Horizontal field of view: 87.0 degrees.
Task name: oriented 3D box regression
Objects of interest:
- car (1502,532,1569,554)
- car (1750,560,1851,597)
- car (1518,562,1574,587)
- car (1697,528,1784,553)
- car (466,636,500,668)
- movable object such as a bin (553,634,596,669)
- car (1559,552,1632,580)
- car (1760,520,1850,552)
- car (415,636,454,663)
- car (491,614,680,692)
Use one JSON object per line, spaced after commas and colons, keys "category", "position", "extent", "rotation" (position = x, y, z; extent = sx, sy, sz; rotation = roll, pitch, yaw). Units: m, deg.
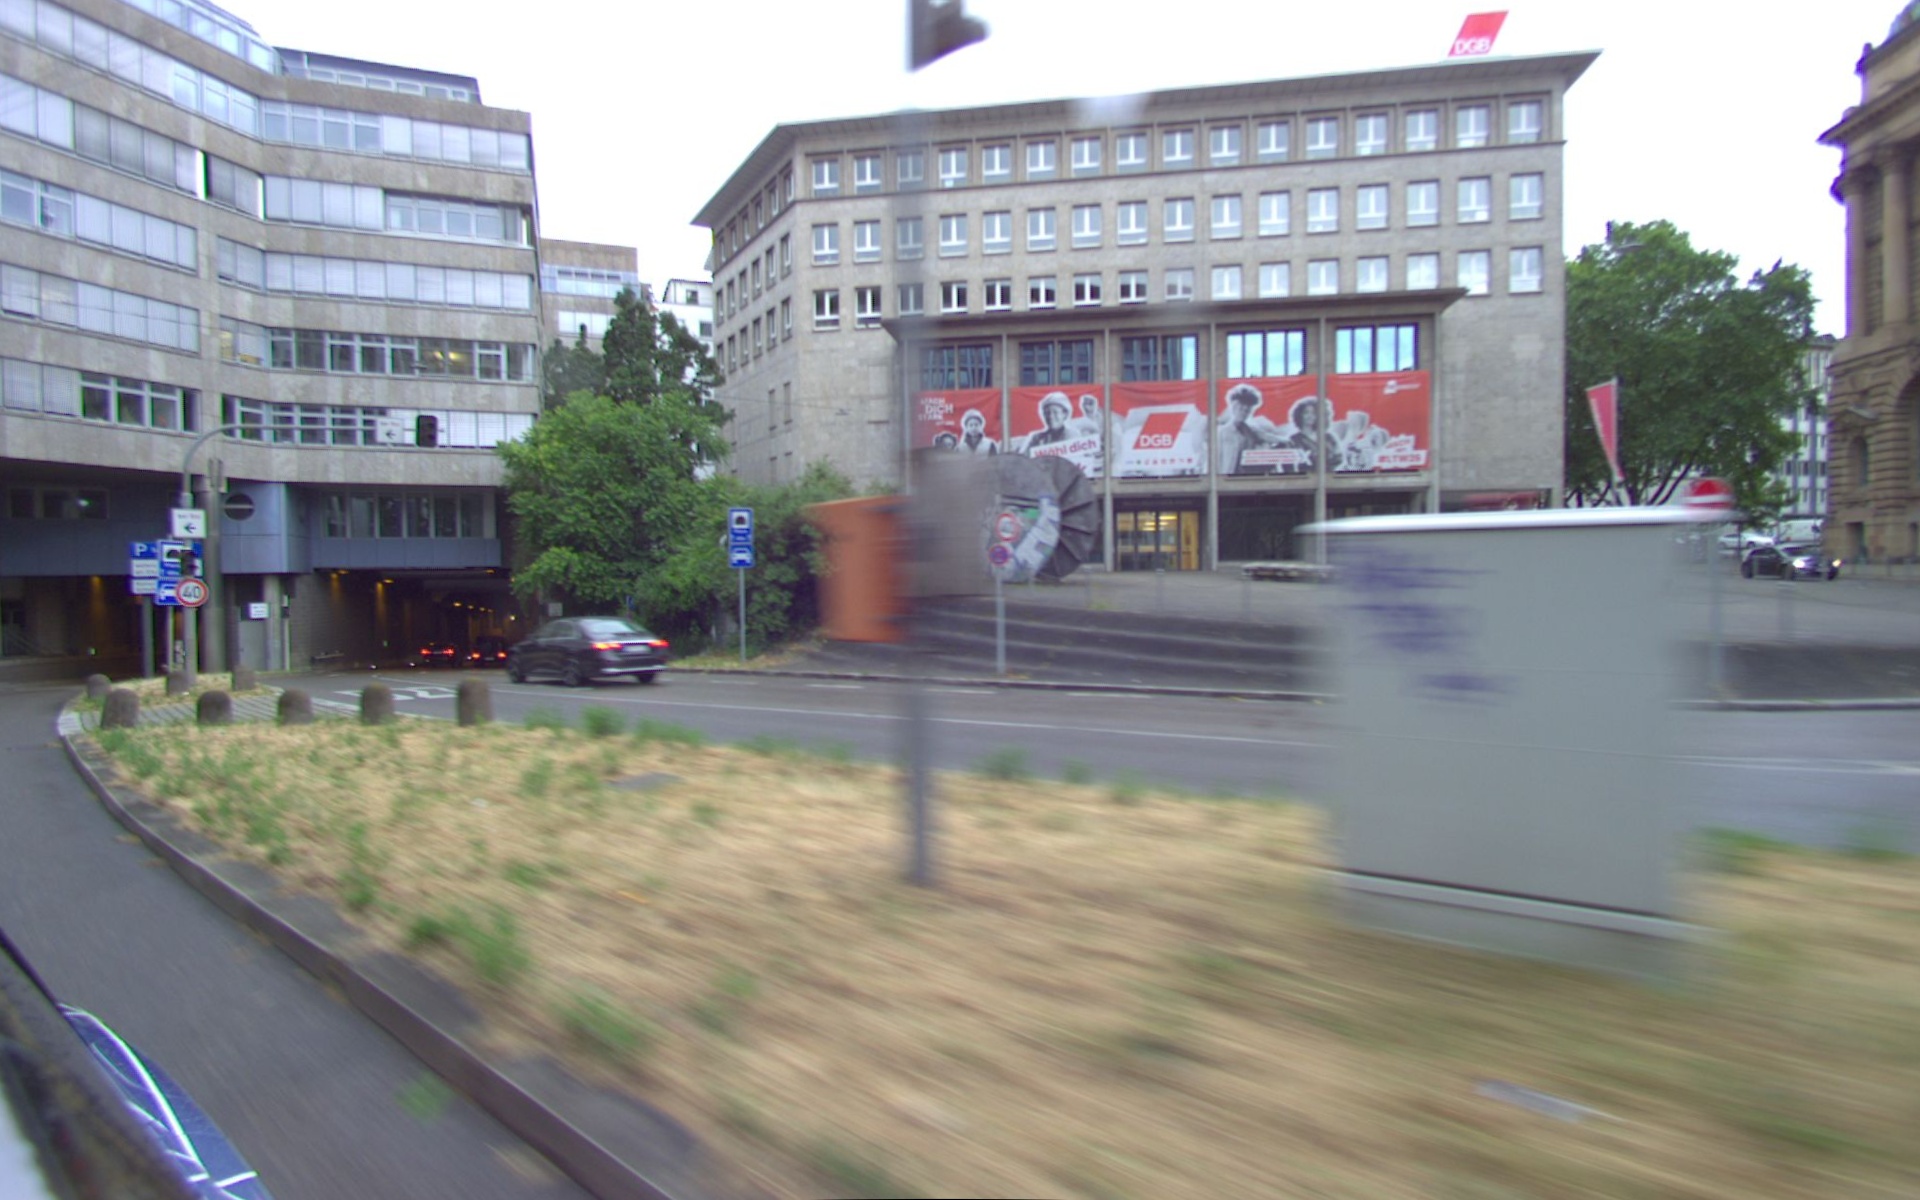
{"category": "car", "position": [60.116, -5.939, 105.852], "extent": [2.276, 1.971, 6.310], "rotation": [-2, 0, -14]}
{"category": "car", "position": [34.296, -0.857, 41.406], "extent": [1.602, 1.414, 3.610], "rotation": [-2, 0, 11]}
{"category": "car", "position": [32.243, -1.377, 55.783], "extent": [1.603, 1.257, 3.608], "rotation": [-2, 0, 12]}
{"category": "car", "position": [71.953, -5.450, 93.464], "extent": [2.276, 1.971, 6.310], "rotation": [-2, 0, -14]}
{"category": "car", "position": [-30.066, 3.291, 63.845], "extent": [1.811, 1.936, 4.657], "rotation": [0, -3, -24]}
{"category": "movable object such as a bin", "position": [-16.502, 2.196, 43.309], "extent": [1.324, 1.461, 1.164], "rotation": [-1, -1, 8]}
{"category": "car", "position": [31.096, -1.640, 49.626], "extent": [1.600, 1.257, 3.615], "rotation": [-2, 0, 7]}
{"category": "car", "position": [79.478, -5.975, 95.284], "extent": [2.276, 2.580, 6.310], "rotation": [-2, 0, -14]}
{"category": "car", "position": [-33.400, 3.184, 64.394], "extent": [1.819, 1.600, 4.403], "rotation": [0, -3, -22]}
{"category": "car", "position": [-8.355, 1.089, 22.328], "extent": [4.842, 1.504, 1.972], "rotation": [-1, -1, 43]}
